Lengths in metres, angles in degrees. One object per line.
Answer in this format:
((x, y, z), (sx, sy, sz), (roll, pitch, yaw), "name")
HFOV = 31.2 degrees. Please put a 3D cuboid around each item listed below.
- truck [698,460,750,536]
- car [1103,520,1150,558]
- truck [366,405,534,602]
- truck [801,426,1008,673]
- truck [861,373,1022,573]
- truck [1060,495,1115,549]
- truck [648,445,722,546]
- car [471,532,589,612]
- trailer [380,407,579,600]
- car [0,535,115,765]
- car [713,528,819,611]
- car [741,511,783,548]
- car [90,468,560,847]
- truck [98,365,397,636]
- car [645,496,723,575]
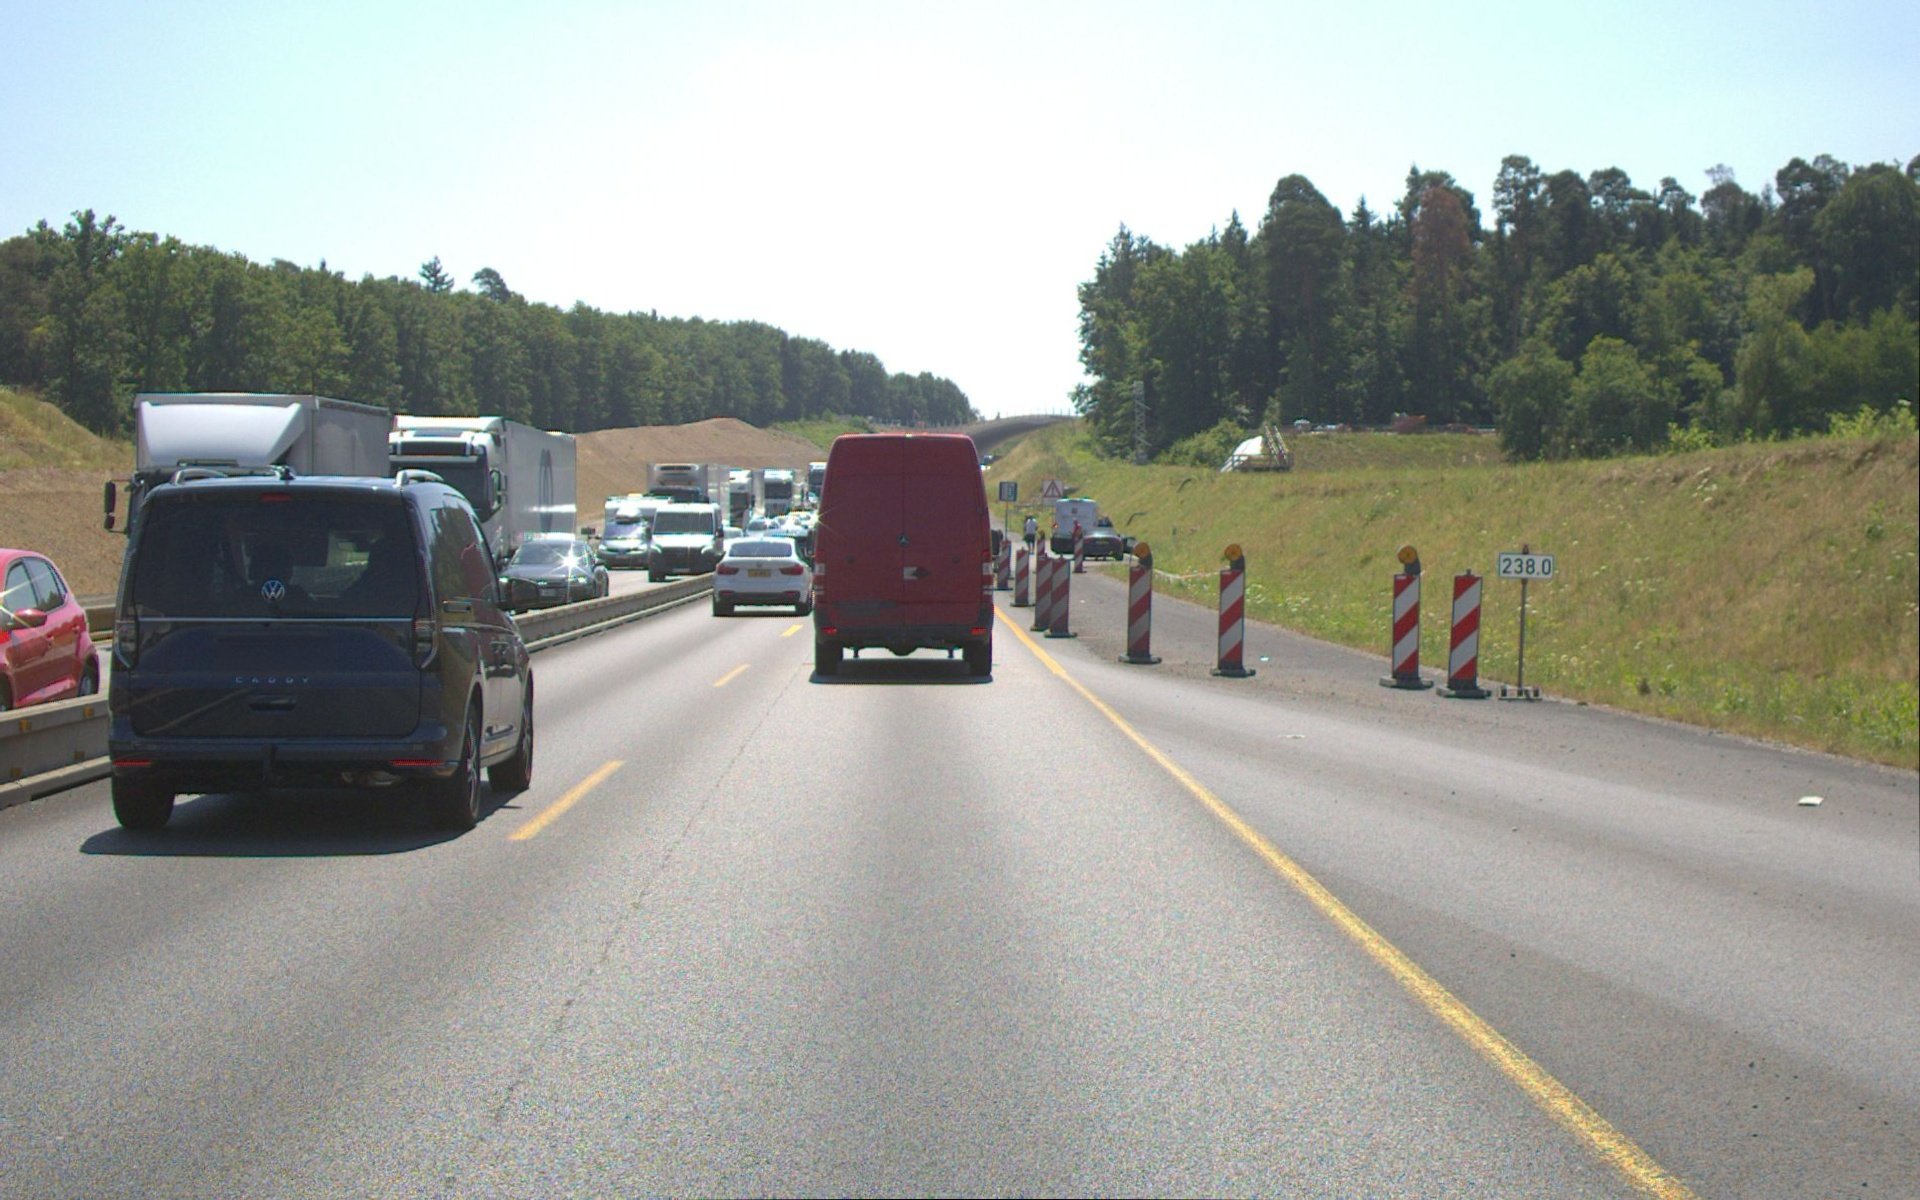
((-12.856, -5.551, 187.579), (2.591, 4.039, 5.150), (1, 2, -2), "truck")
((6.923, -2.553, 143.333), (1.654, 1.422, 4.545), (-2, 2, 0), "car")
((-10.812, -2.024, 73.300), (2.848, 4.004, 4.859), (-1, 1, -1), "truck")
((-0.655, -0.575, 38.948), (2.153, 2.581, 5.334), (1, 1, -2), "truck")
((-0.601, -3.613, 103.383), (4.400, 5.477, 16.604), (1, 1, -1), "truck")
((6.007, -3.679, 161.416), (2.130, 2.448, 5.924), (1, 2, 6), "truck")
((-11.842, -4.490, 148.355), (2.491, 4.184, 5.912), (-1, 1, 2), "truck")
((-8.074, -0.547, 64.883), (1.857, 1.437, 4.502), (1, 1, -3), "car")
((-11.021, -2.146, 80.266), (2.854, 4.079, 13.653), (-1, 1, -1), "trailer")
((-7.006, 0.298, 23.229), (1.627, 1.479, 4.054), (1, 1, -1), "car")
((-3.696, -0.599, 65.959), (1.831, 1.517, 3.961), (1, 1, -1), "car")
((-8.878, -3.176, 154.756), (1.688, 1.608, 4.594), (1, 1, -1), "car")
((-3.354, 0.209, 19.033), (1.751, 1.818, 4.783), (1, 2, -1), "car")
((-10.596, -1.427, 52.112), (2.644, 3.703, 9.483), (1, 1, -1), "truck")
((-8.220, -1.964, 102.755), (1.993, 2.284, 5.344), (1, 2, -1), "car")
